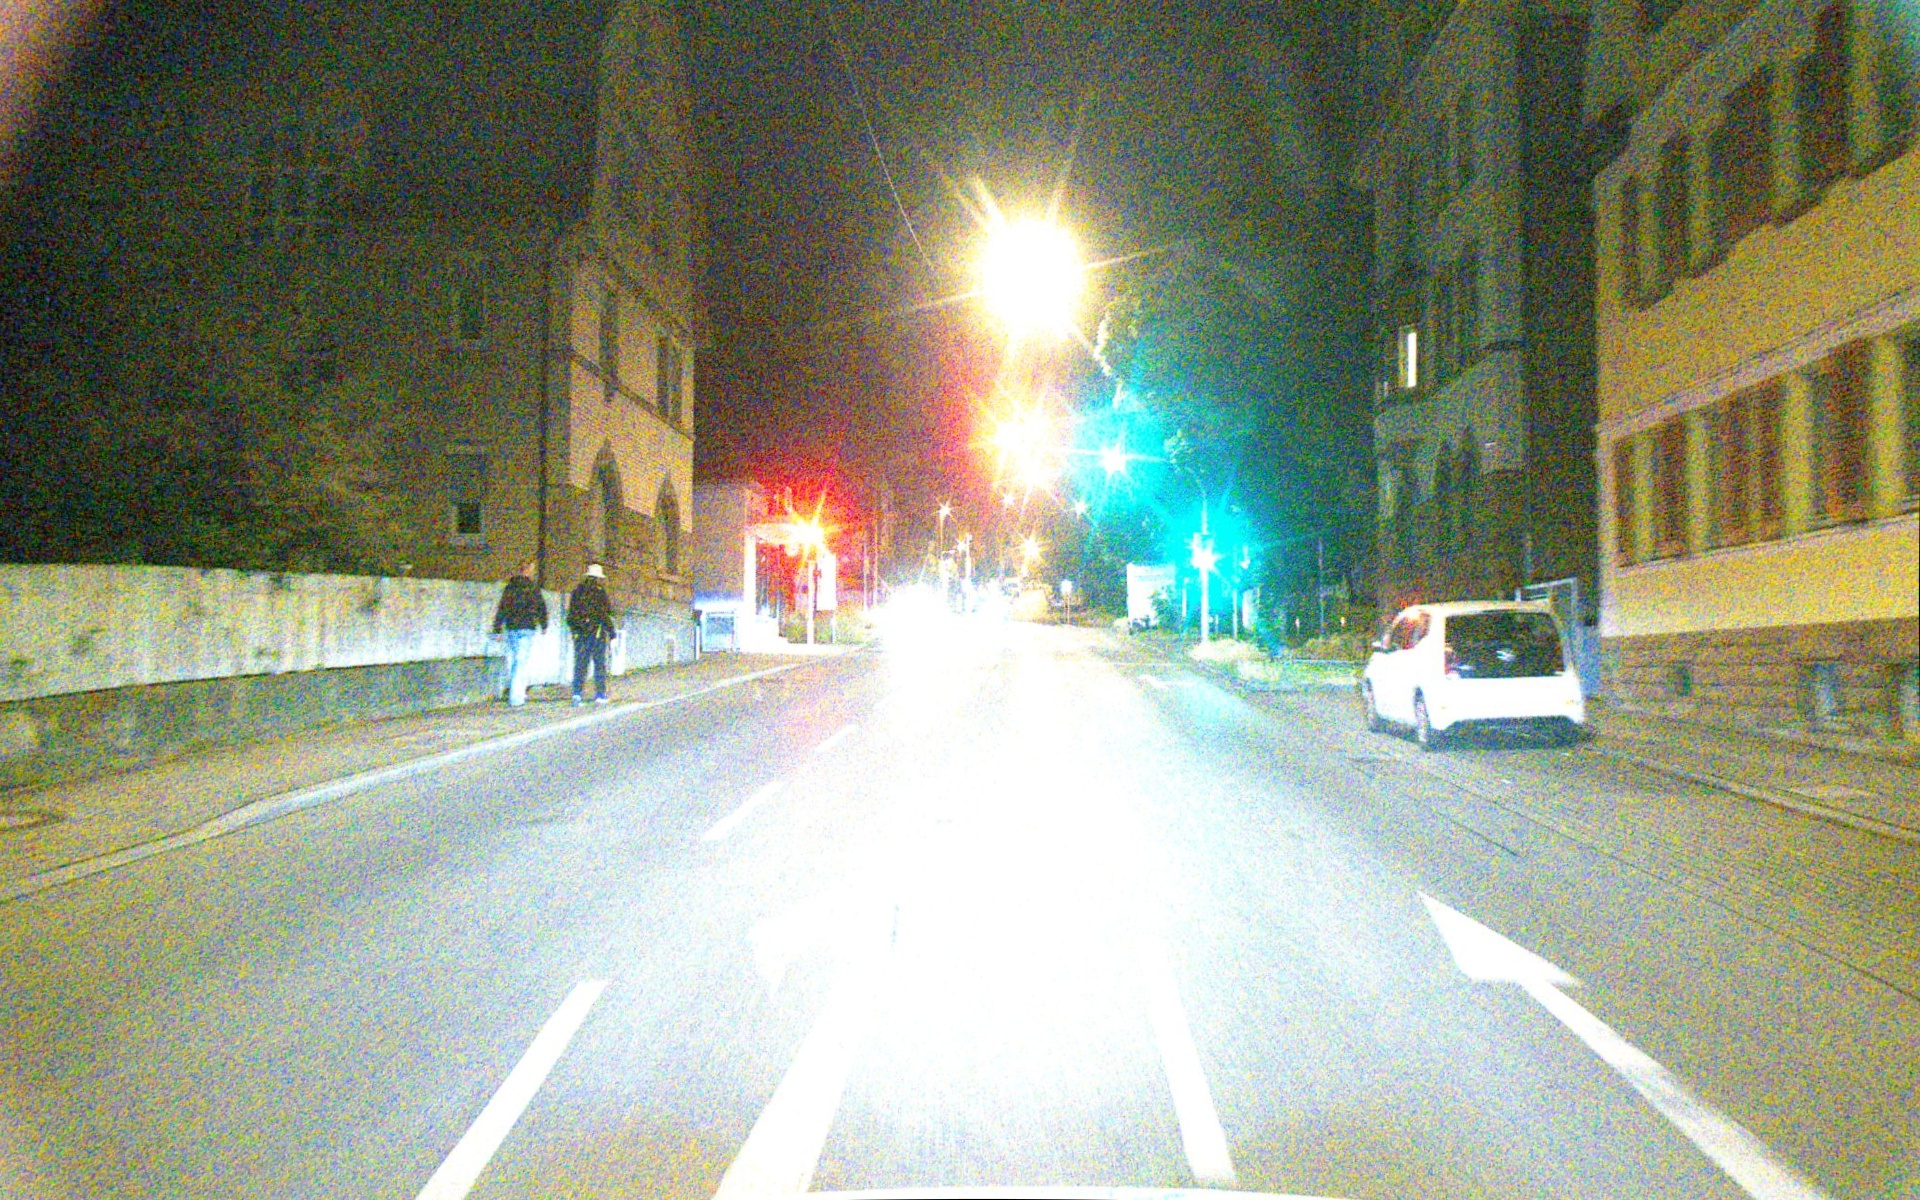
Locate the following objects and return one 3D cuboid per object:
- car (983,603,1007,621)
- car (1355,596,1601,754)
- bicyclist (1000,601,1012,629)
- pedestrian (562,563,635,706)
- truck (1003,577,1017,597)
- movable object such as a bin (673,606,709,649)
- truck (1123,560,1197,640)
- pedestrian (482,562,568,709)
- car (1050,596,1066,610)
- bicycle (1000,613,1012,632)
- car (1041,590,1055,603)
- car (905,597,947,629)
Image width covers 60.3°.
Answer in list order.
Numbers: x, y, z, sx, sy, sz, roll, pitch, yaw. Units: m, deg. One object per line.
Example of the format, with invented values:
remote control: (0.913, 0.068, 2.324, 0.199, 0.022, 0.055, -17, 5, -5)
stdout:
car: (2.870, 0.962, 135.294, 1.877, 1.413, 4.584, 1, 0, 2)
car: (5.550, 0.736, 18.157, 1.633, 1.510, 3.604, -2, 0, 2)
bicyclist: (2.806, 0.911, 100.407, 0.676, 1.666, 0.896, 0, -1, 3)
pedestrian: (-4.600, 0.436, 21.110, 0.661, 1.776, 1.029, 0, -1, 2)
truck: (7.427, -1.967, 245.231, 2.043, 2.897, 5.832, 1, 0, 1)
movable object such as a bin: (-6.733, 0.681, 41.425, 0.625, 1.067, 0.654, 0, -1, 20)
truck: (8.346, -0.016, 69.623, 2.692, 3.165, 6.261, 1, 0, 3)
pedestrian: (-5.401, 0.427, 20.590, 0.727, 1.776, 1.103, 0, -1, 2)
car: (10.583, 0.291, 178.679, 1.600, 1.477, 3.486, 1, 0, 3)
bicycle: (2.807, 1.358, 100.507, 0.681, 1.169, 1.951, 0, 0, 3)
car: (10.338, -0.423, 194.648, 1.600, 1.477, 3.486, 1, 0, 3)
car: (-1.677, 0.625, 82.307, 1.818, 1.561, 4.029, 1, 0, 3)
